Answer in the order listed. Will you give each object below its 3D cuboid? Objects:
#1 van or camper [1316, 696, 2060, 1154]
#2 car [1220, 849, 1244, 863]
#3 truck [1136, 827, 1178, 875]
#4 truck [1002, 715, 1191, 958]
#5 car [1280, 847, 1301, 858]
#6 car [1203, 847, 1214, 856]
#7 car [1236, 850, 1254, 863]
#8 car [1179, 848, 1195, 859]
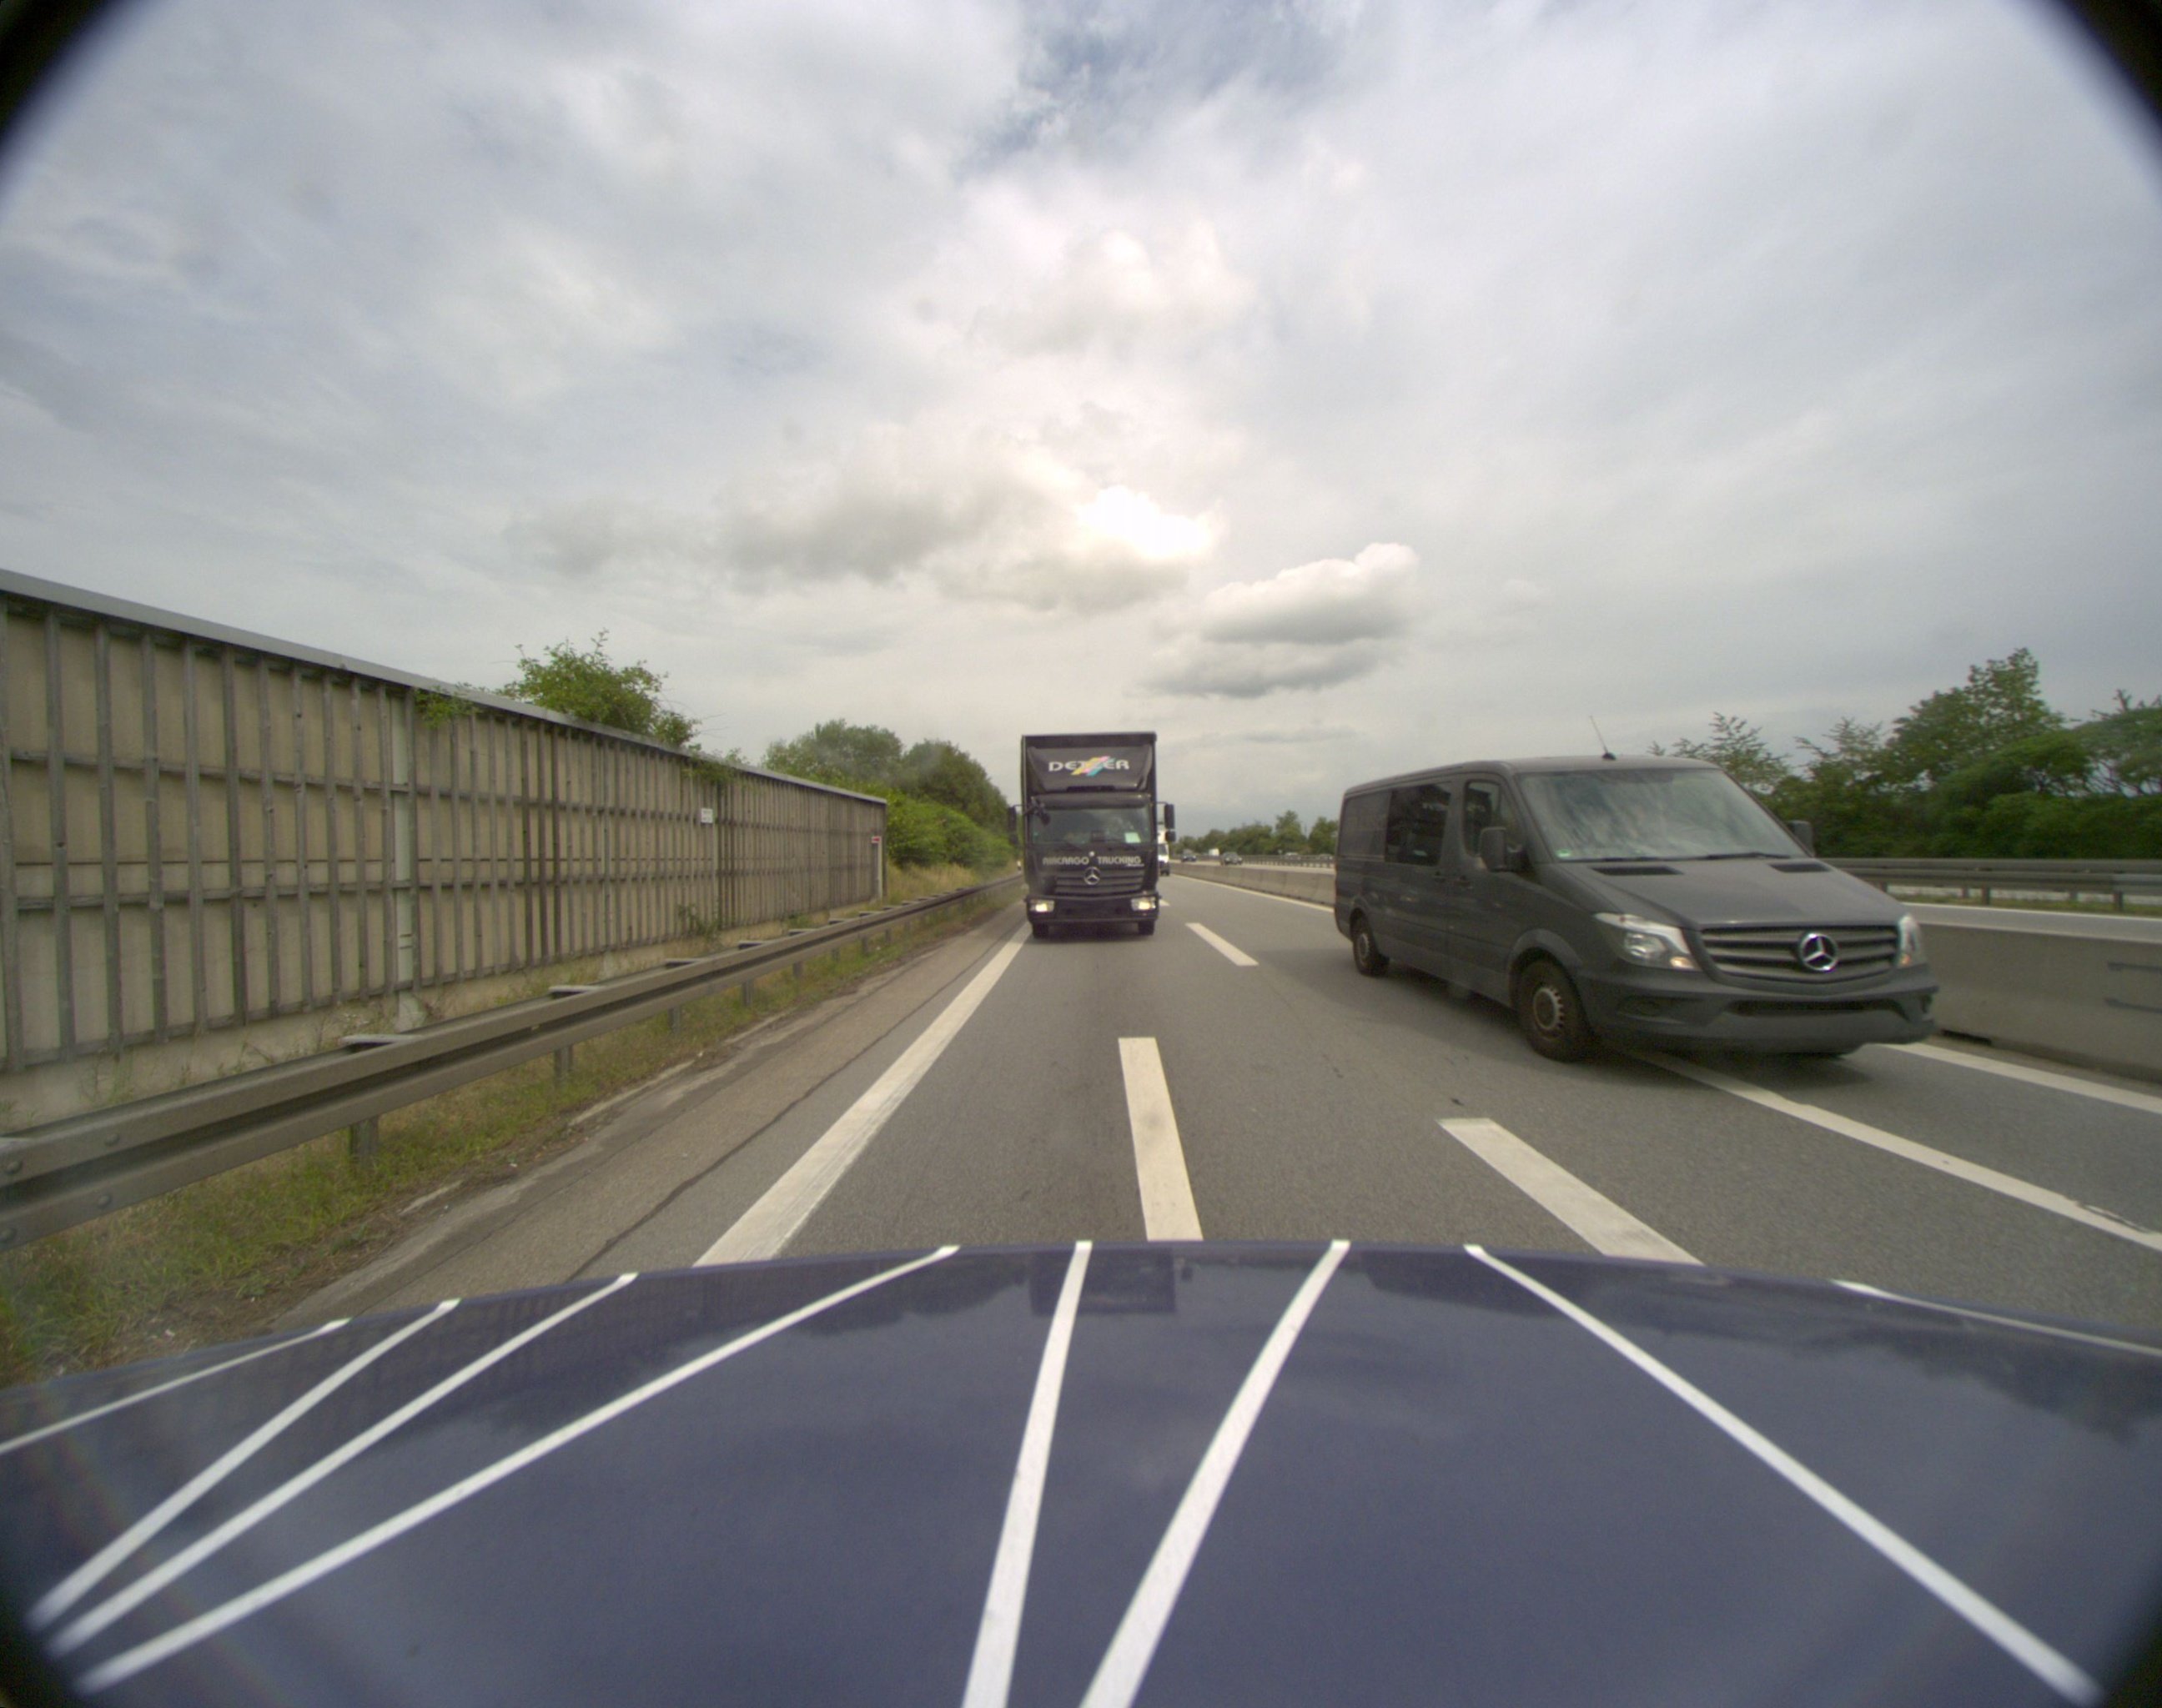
[{"bbox_3d":[4.128,0.360,7.035,2.004,2.357,6.126,-1,0,0],"label":"van or camper"},{"bbox_3d":[16.834,0.171,84.687,1.777,1.441,4.383,-2,0,1],"label":"car"},{"bbox_3d":[5.250,-0.209,53.131,2.410,3.072,6.370,-2,0,2],"label":"truck"},{"bbox_3d":[0.140,-0.316,17.762,3.025,3.931,10.338,-2,0,-1],"label":"truck"},{"bbox_3d":[28.921,-0.207,105.108,1.737,1.511,3.719,-1,0,-3],"label":"car"},{"bbox_3d":[26.457,-0.528,157.897,1.798,1.724,4.001,-1,0,3],"label":"car"},{"bbox_3d":[24.359,0.344,112.766,1.998,1.958,4.001,-1,0,3],"label":"car"},{"bbox_3d":[16.630,-0.161,119.406,1.998,1.652,4.383,-2,0,0],"label":"car"}]
